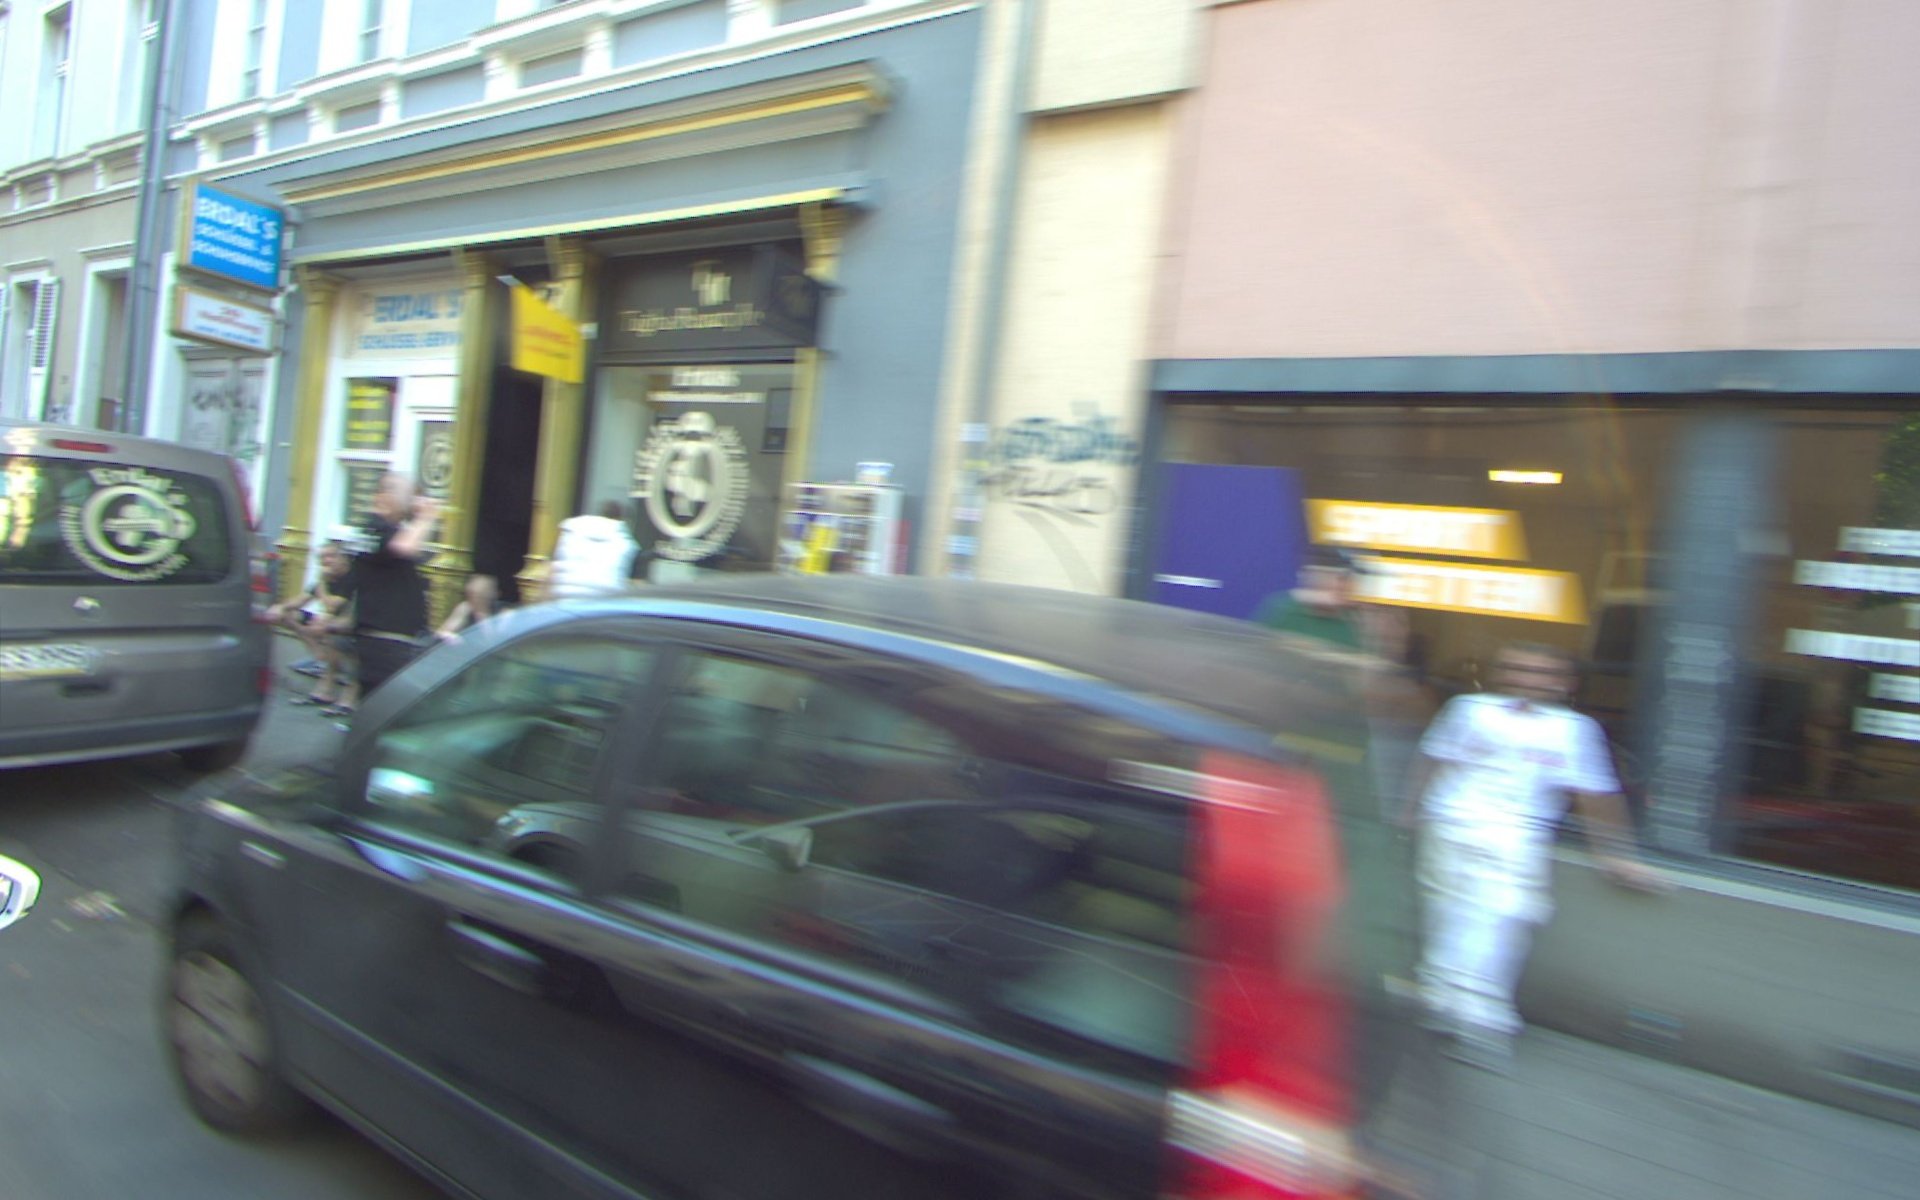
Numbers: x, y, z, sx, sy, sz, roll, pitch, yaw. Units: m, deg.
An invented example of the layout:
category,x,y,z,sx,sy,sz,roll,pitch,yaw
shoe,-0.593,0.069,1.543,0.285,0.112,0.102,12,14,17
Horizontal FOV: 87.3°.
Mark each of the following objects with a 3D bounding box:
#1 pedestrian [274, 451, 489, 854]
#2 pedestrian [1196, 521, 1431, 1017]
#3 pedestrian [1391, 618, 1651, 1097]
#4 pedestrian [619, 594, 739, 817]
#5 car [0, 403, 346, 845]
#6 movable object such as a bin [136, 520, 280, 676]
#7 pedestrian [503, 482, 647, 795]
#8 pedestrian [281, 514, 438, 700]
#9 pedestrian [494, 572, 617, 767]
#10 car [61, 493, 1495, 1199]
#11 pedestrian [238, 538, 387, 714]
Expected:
category,x,y,z,sx,sy,sz,roll,pitch,yaw
pedestrian,-2.679,0.219,4.666,0.644,1.725,0.442,6,0,31
pedestrian,1.403,0.628,4.063,0.646,1.761,0.631,7,0,17
pedestrian,2.065,0.891,3.790,0.647,1.548,0.589,7,0,25
pedestrian,-1.688,0.611,6.015,0.524,1.237,0.512,7,0,-20
car,-5.598,-0.054,5.481,4.242,1.815,1.903,6,-1,30
movable object such as a bin,-6.528,-0.007,8.751,0.570,1.259,0.763,6,1,27
pedestrian,-2.297,0.238,5.994,0.557,1.761,0.424,7,0,-30
pedestrian,-4.519,0.063,7.588,0.643,1.292,0.676,6,-1,32
pedestrian,-2.753,0.467,6.853,0.506,1.237,0.439,6,0,32
car,-0.632,0.659,2.524,3.259,1.578,1.569,6,3,32
pedestrian,-5.115,0.213,7.956,0.618,1.292,0.676,6,-1,32
